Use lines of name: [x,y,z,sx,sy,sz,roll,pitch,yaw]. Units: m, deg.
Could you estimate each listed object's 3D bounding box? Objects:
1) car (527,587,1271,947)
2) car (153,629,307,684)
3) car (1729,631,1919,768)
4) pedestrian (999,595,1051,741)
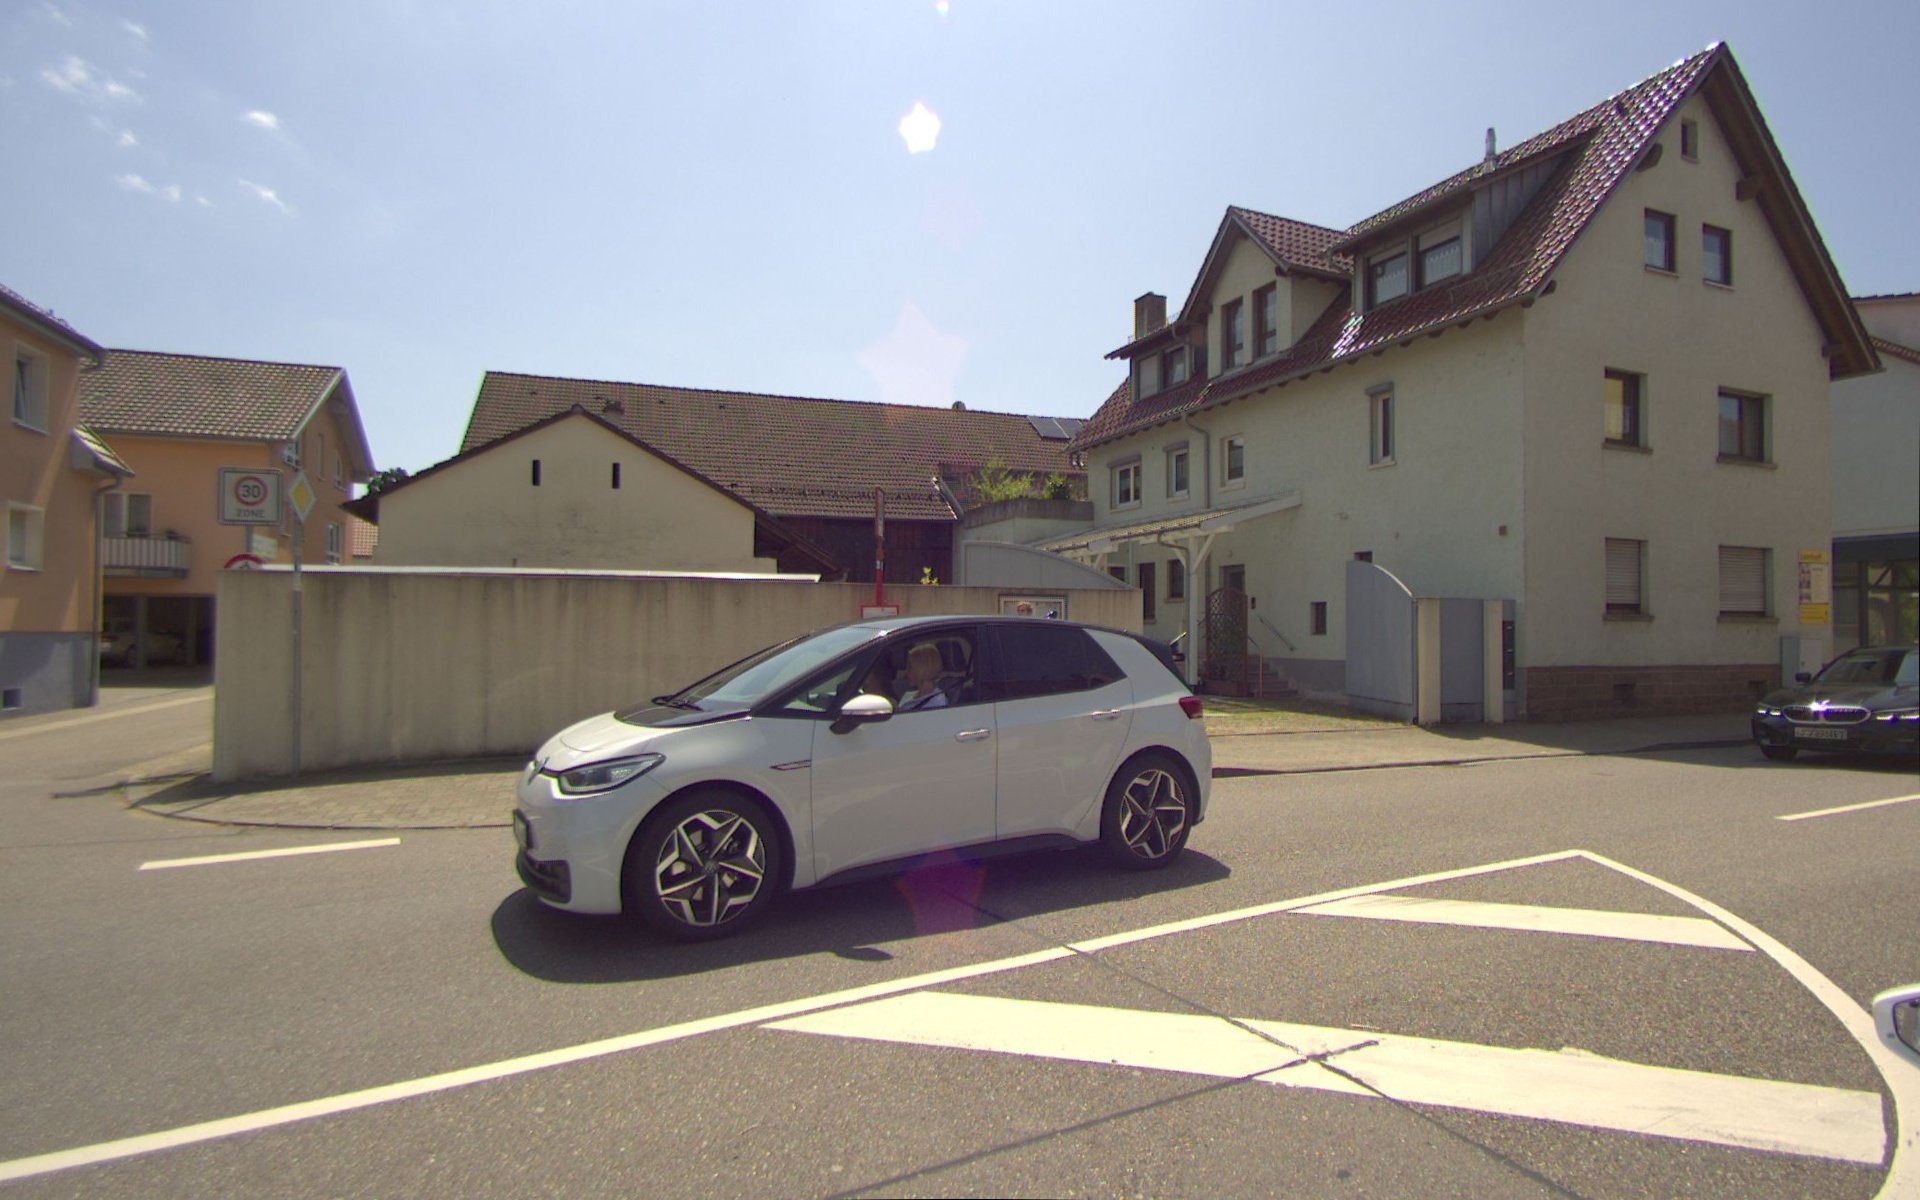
car: [-0.320,0.808,6.008,4.079,1.527,1.790,2,-3,-26]
car: [-25.629,1.996,35.454,3.940,1.861,1.991,2,-3,-21]
car: [12.078,1.201,12.863,4.363,1.512,1.788,2,-3,-26]
pedestrian: [0.809,0.838,12.571,0.547,1.788,0.434,0,-2,-11]
